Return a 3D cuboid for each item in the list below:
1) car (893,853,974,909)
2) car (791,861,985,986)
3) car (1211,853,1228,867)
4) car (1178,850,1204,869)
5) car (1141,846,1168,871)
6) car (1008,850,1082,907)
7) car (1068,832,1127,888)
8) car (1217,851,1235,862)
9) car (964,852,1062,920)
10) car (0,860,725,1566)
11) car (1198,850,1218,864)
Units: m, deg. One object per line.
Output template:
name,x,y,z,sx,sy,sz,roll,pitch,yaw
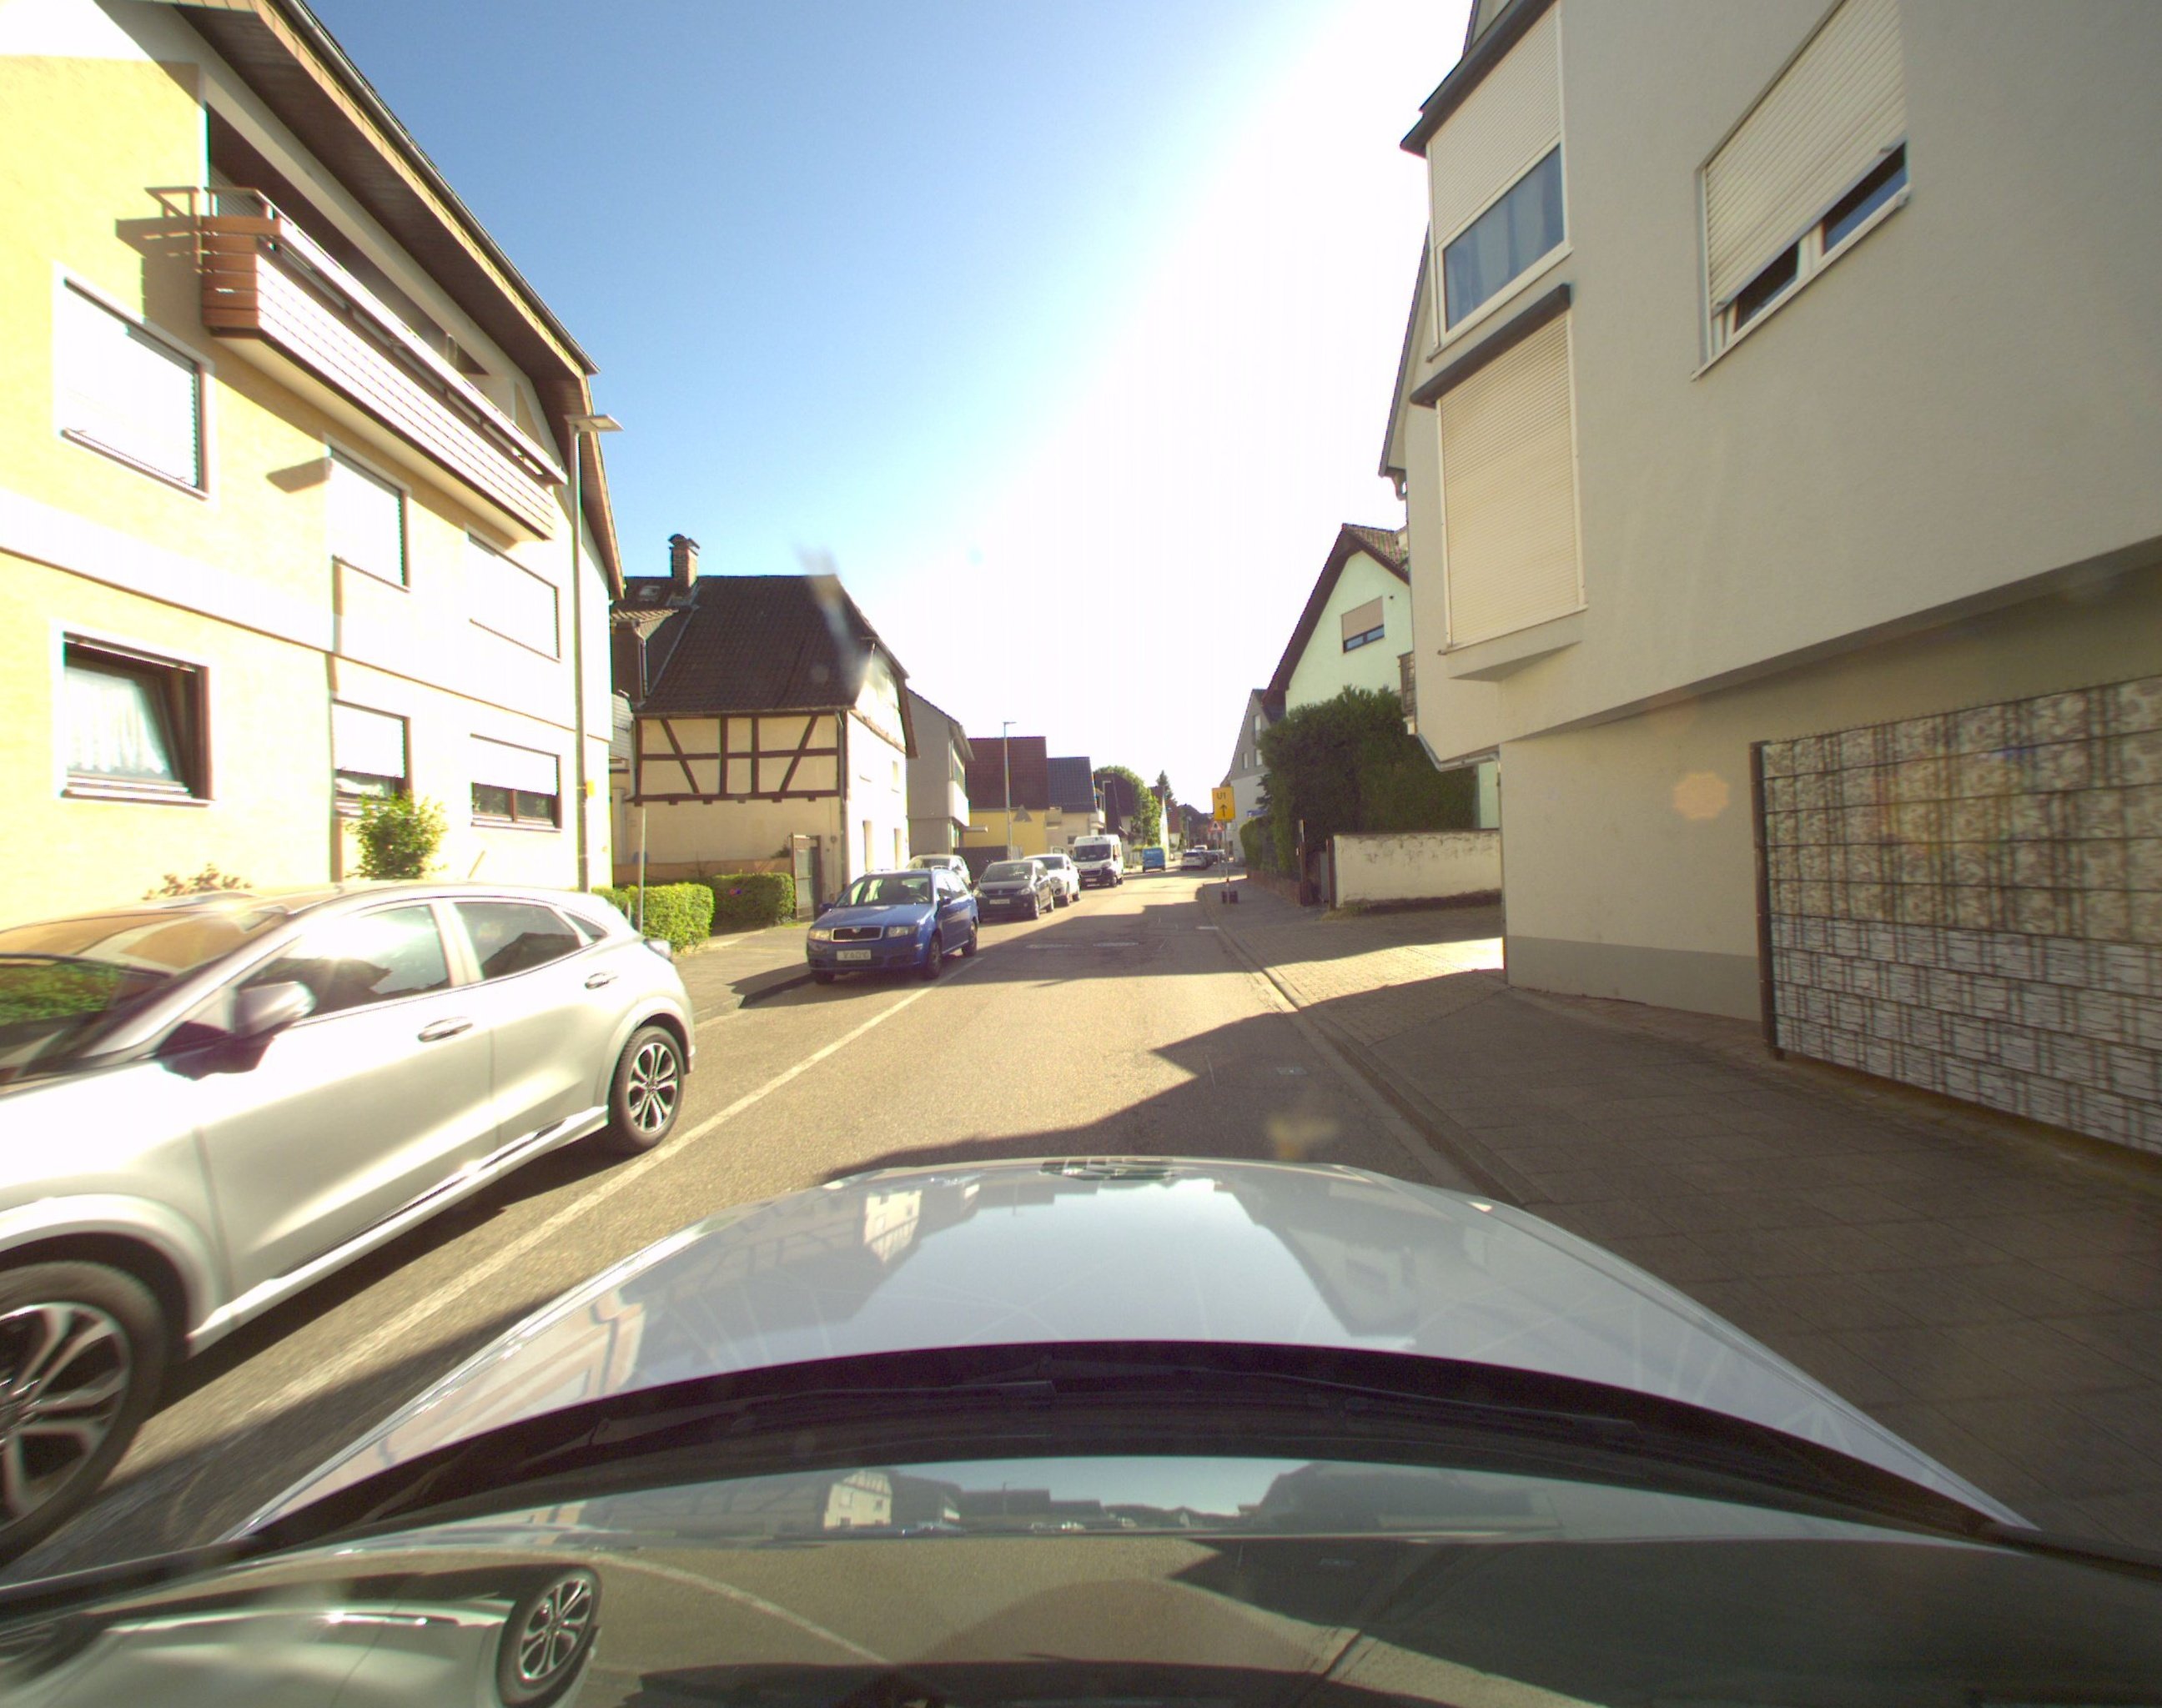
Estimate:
car,-4.556,0.782,25.663,1.715,1.596,4.018,0,0,1
car,-2.570,0.856,11.848,1.632,1.441,4.077,-3,-1,2
car,17.095,0.776,100.304,1.917,1.571,4.013,0,-2,12
car,8.490,0.454,63.311,1.835,1.413,4.005,0,-2,5
car,5.753,0.292,64.196,1.912,1.801,4.785,-3,0,4
car,-1.053,0.724,25.782,1.665,1.572,3.972,-3,0,6
car,0.856,0.276,38.850,2.065,2.394,5.220,-3,0,8
car,19.519,0.374,109.466,1.830,1.413,4.016,0,-2,16
car,-1.673,0.775,21.435,1.694,1.518,4.130,-3,-1,7
car,-3.163,0.828,3.057,1.667,1.506,4.096,-3,0,2
car,14.041,0.338,89.973,1.831,1.413,4.014,0,-2,14
